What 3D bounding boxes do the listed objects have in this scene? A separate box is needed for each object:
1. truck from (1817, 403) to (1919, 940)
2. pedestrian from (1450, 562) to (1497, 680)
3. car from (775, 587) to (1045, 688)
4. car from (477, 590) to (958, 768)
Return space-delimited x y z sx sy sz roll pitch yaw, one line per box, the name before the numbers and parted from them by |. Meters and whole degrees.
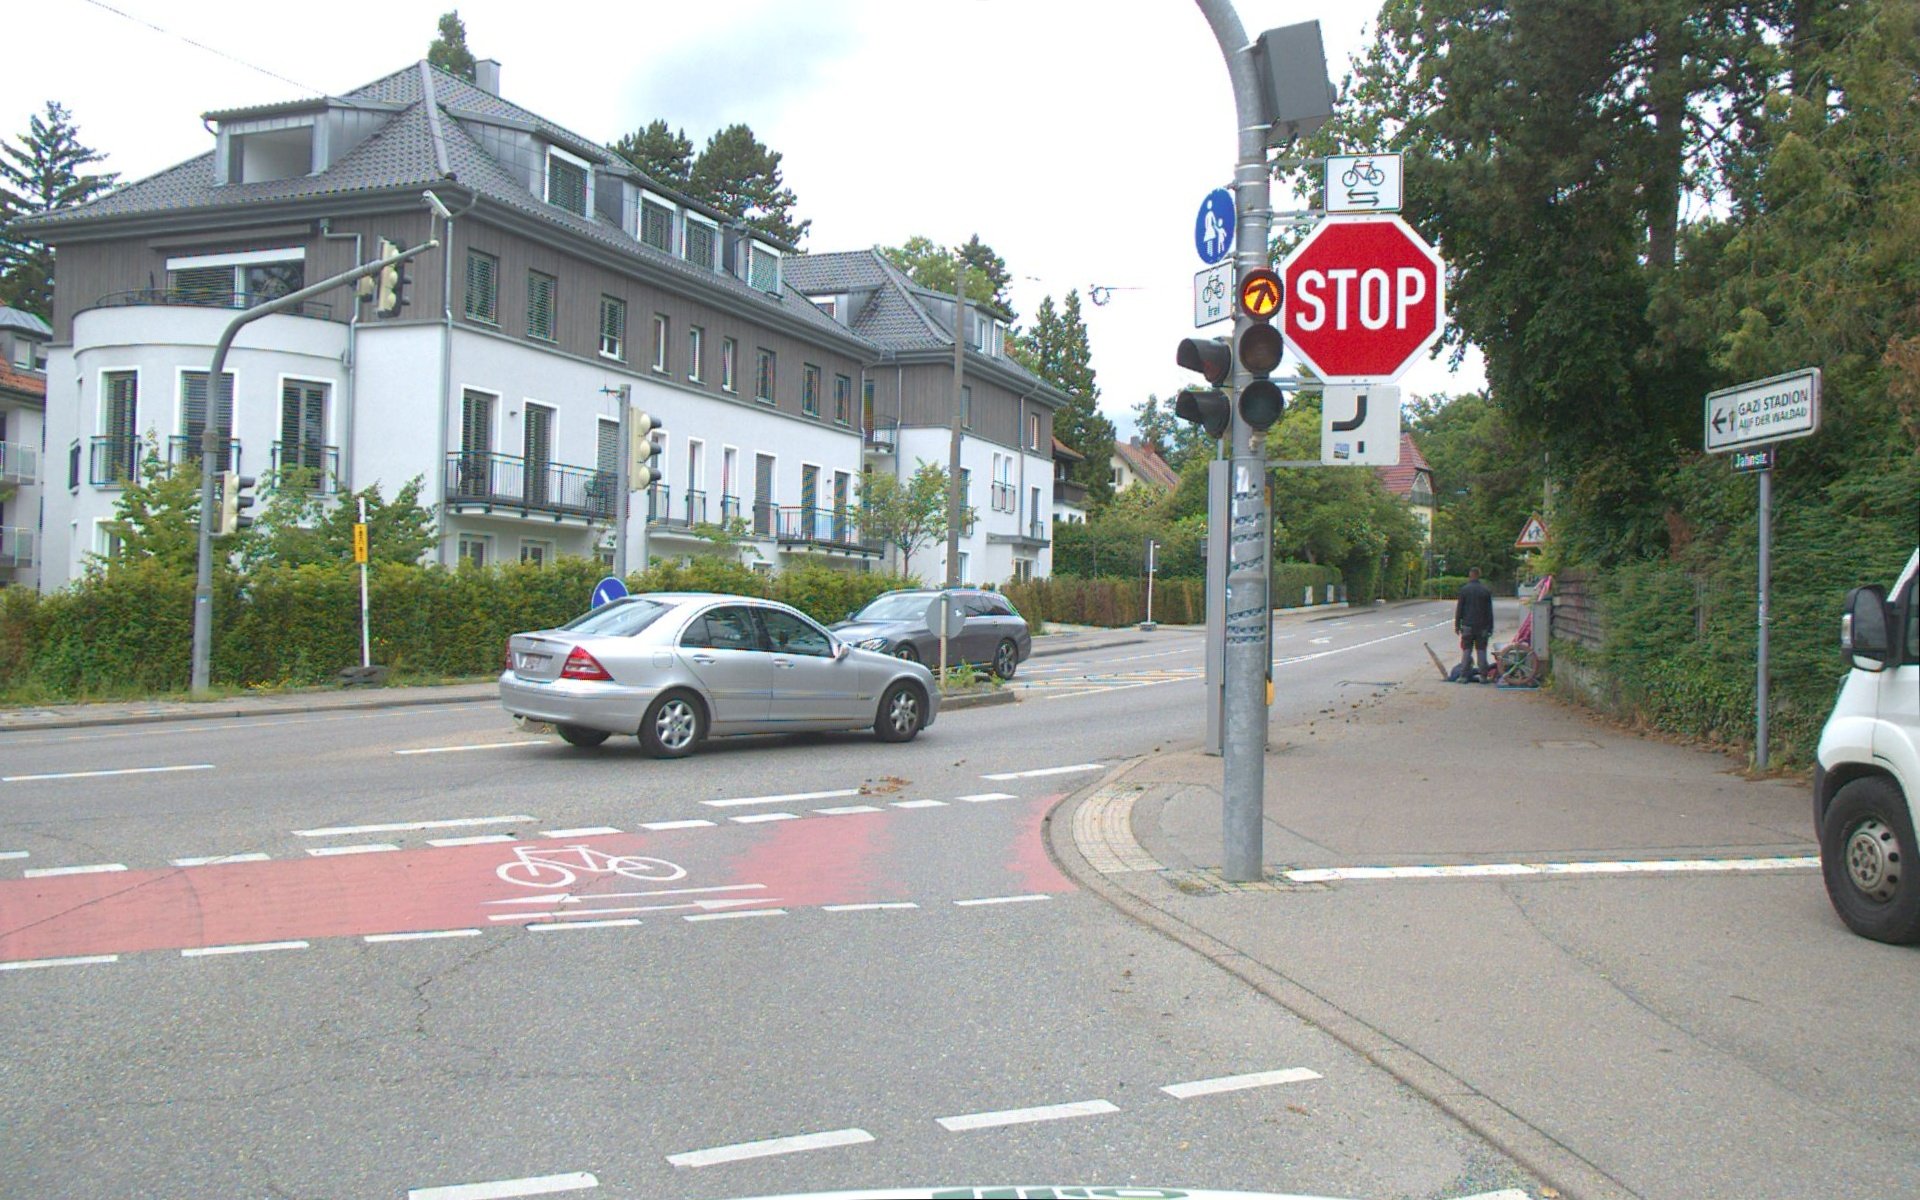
truck | 5.129 0.318 5.022 2.162 2.283 5.724 1 0 1
pedestrian | 8.564 0.350 27.579 0.584 1.940 0.558 1 0 0
car | -0.675 0.525 26.161 1.905 1.428 4.728 1 1 34
car | -2.171 0.641 15.701 4.391 1.438 1.682 0 1 -44
